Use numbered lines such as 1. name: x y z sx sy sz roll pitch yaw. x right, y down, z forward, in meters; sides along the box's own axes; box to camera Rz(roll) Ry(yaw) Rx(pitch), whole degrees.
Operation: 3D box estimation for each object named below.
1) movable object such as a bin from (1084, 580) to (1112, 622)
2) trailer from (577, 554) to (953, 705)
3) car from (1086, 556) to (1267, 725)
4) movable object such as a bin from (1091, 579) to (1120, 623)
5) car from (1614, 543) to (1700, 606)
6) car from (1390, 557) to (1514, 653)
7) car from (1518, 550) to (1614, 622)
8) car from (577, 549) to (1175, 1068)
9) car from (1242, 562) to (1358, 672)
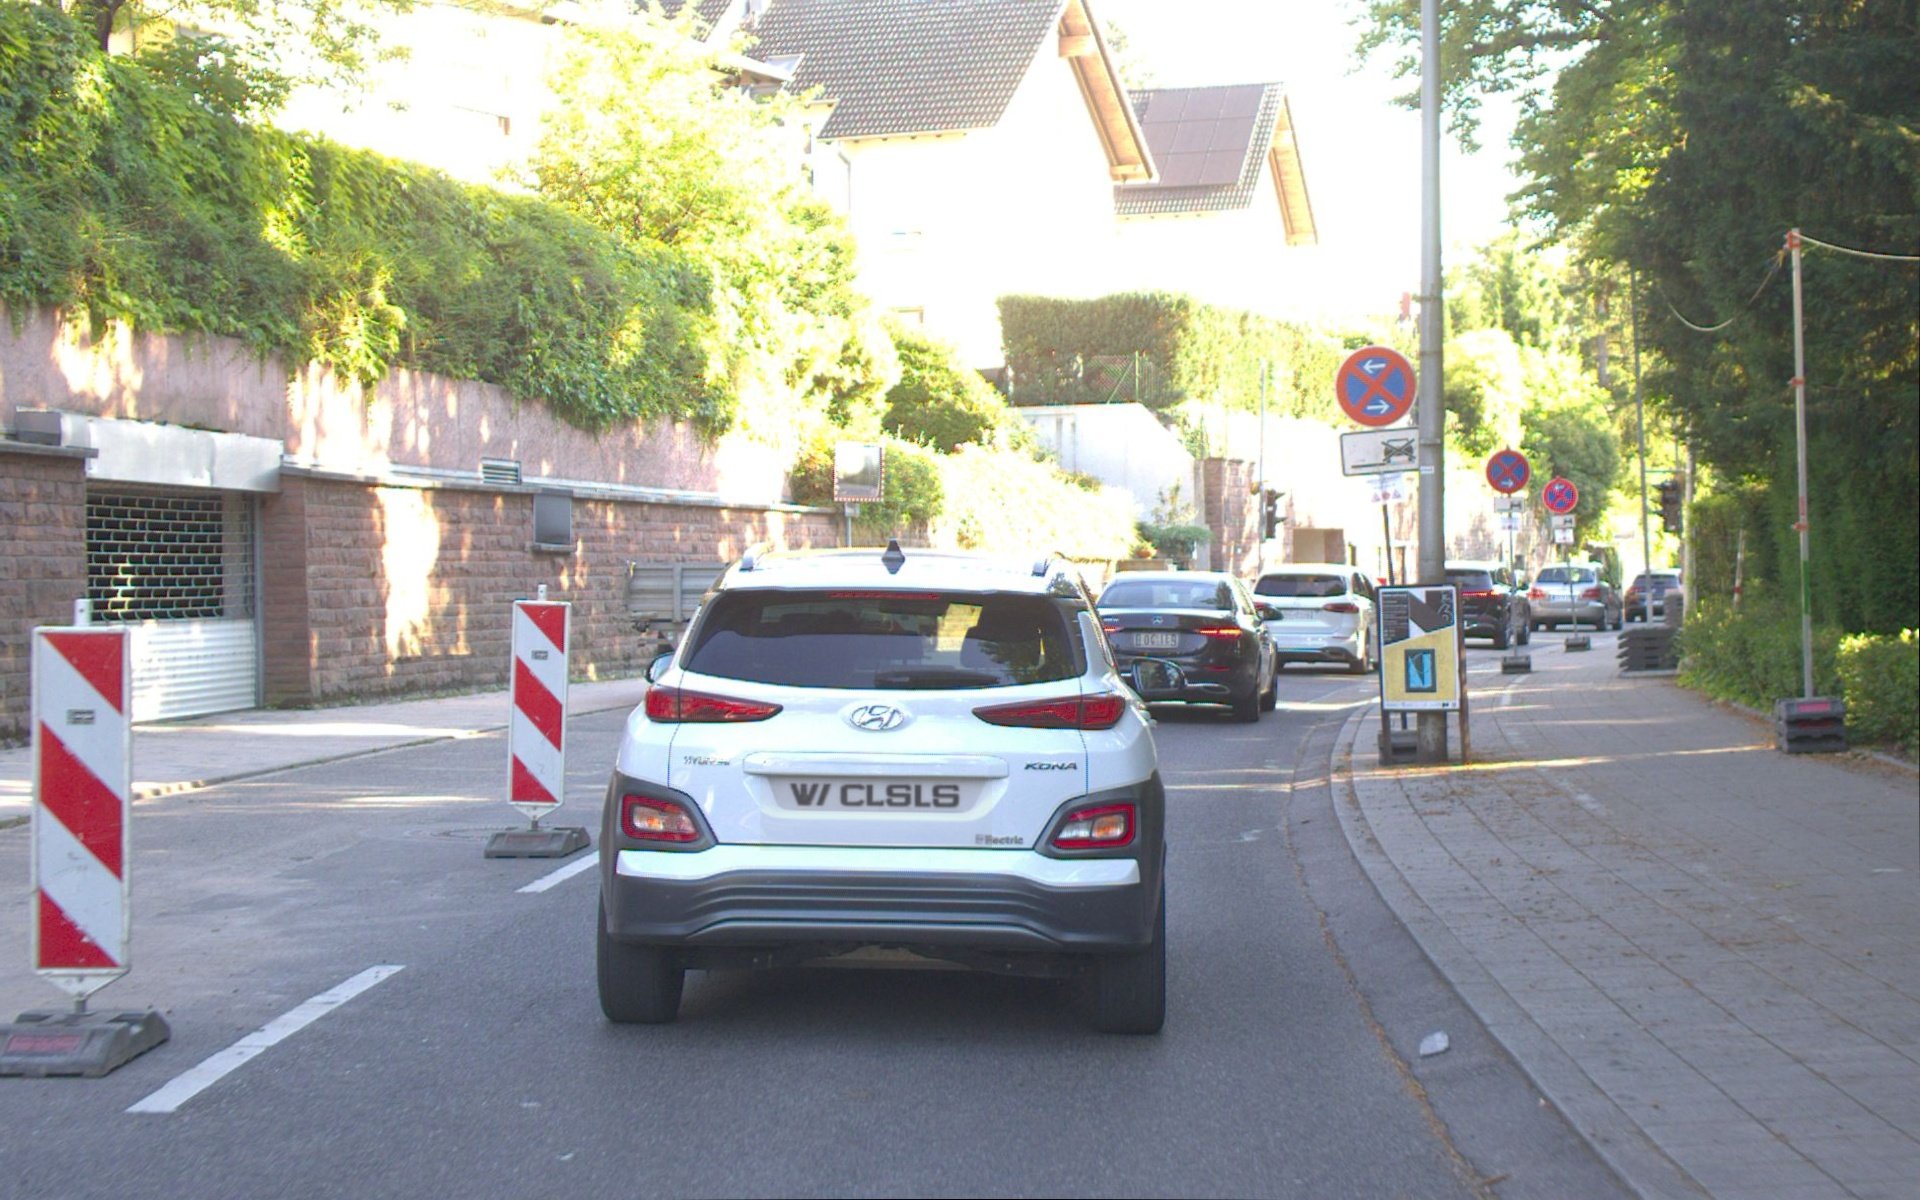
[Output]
1. movable object such as a bin: 2.782 0.013 69.170 0.454 0.831 0.392 -1 1 19
2. trailer: -1.950 0.245 37.555 2.641 1.484 7.116 0 1 9
3. car: 2.170 0.356 33.756 1.512 1.528 3.547 -1 1 7
4. movable object such as a bin: 2.939 0.015 69.613 0.456 0.881 0.500 0 1 19
5. car: 18.773 -0.699 92.491 1.695 1.499 3.627 -4 1 20
6. car: 9.196 0.069 64.078 1.695 1.528 3.879 -5 1 15
7. car: 14.018 -0.336 79.358 1.695 1.442 3.879 -4 1 16
8. car: -0.291 0.594 12.233 1.772 1.537 4.000 0 1 -1
9. car: 4.840 0.210 48.670 1.571 1.472 3.547 0 1 6
